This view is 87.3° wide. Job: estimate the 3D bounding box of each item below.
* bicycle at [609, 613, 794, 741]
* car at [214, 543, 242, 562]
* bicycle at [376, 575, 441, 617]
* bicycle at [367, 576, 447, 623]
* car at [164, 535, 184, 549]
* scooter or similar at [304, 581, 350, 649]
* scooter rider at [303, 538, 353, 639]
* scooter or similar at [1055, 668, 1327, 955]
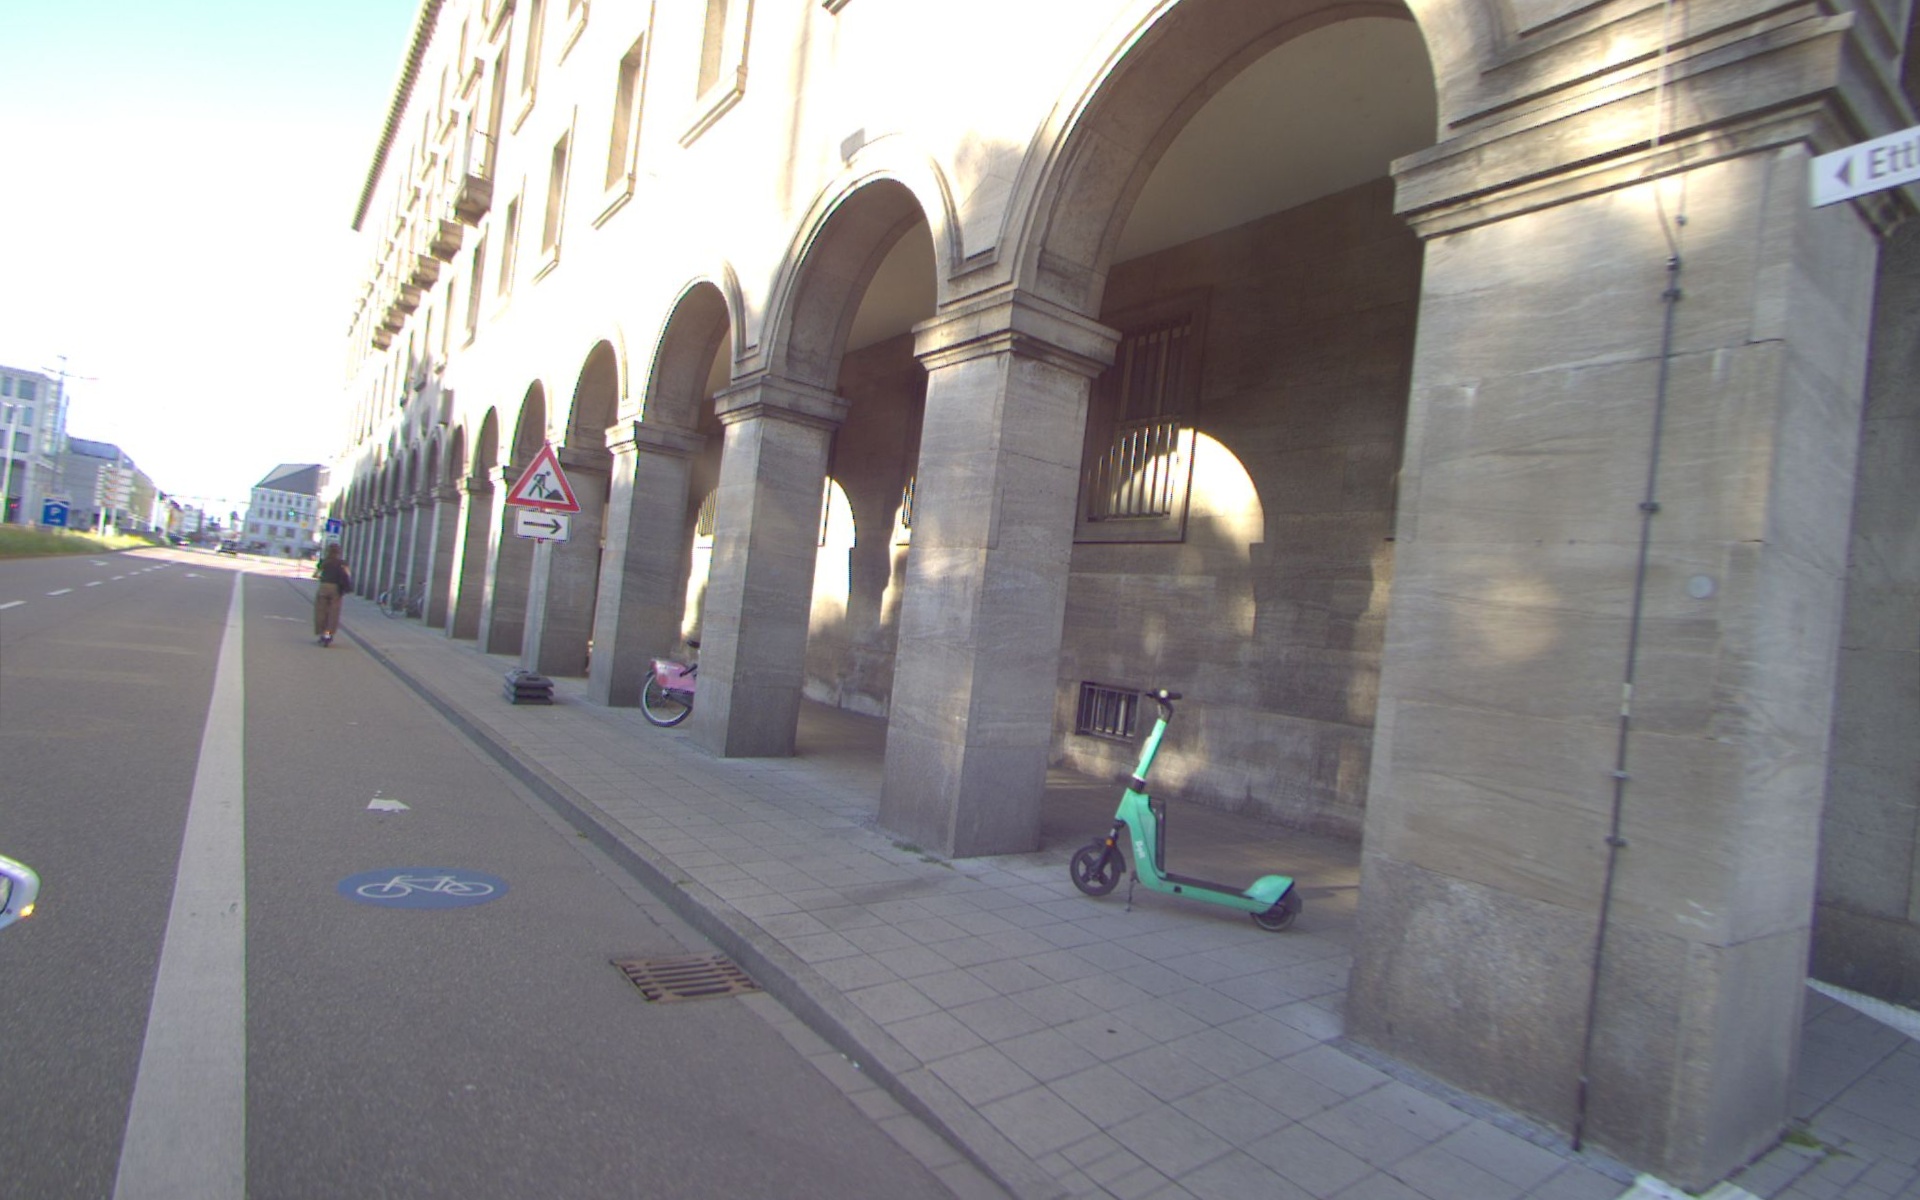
[{"bbox_3d":[-2.701,0.793,10.614,1.681,1.147,0.664,5,0,4],"label":"bicycle"},{"bbox_3d":[-71.929,-4.660,98.845,1.770,1.582,3.746,8,-2,-41],"label":"car"},{"bbox_3d":[-15.311,-0.093,27.967,0.600,1.063,1.714,5,-1,7],"label":"bicycle"},{"bbox_3d":[-14.413,-0.006,26.259,0.520,1.063,1.706,5,-1,39],"label":"bicycle"},{"bbox_3d":[-120.964,-8.954,154.844,1.983,1.763,4.601,8,-1,-36],"label":"car"},{"bbox_3d":[-10.750,0.242,17.089,0.551,1.043,1.108,7,-1,-32],"label":"scooter or similar"},{"bbox_3d":[-10.813,-0.199,17.226,0.557,1.651,0.645,7,-1,-32],"label":"scooter rider"},{"bbox_3d":[1.232,1.049,5.329,1.241,1.239,0.641,5,1,20],"label":"scooter or similar"}]
